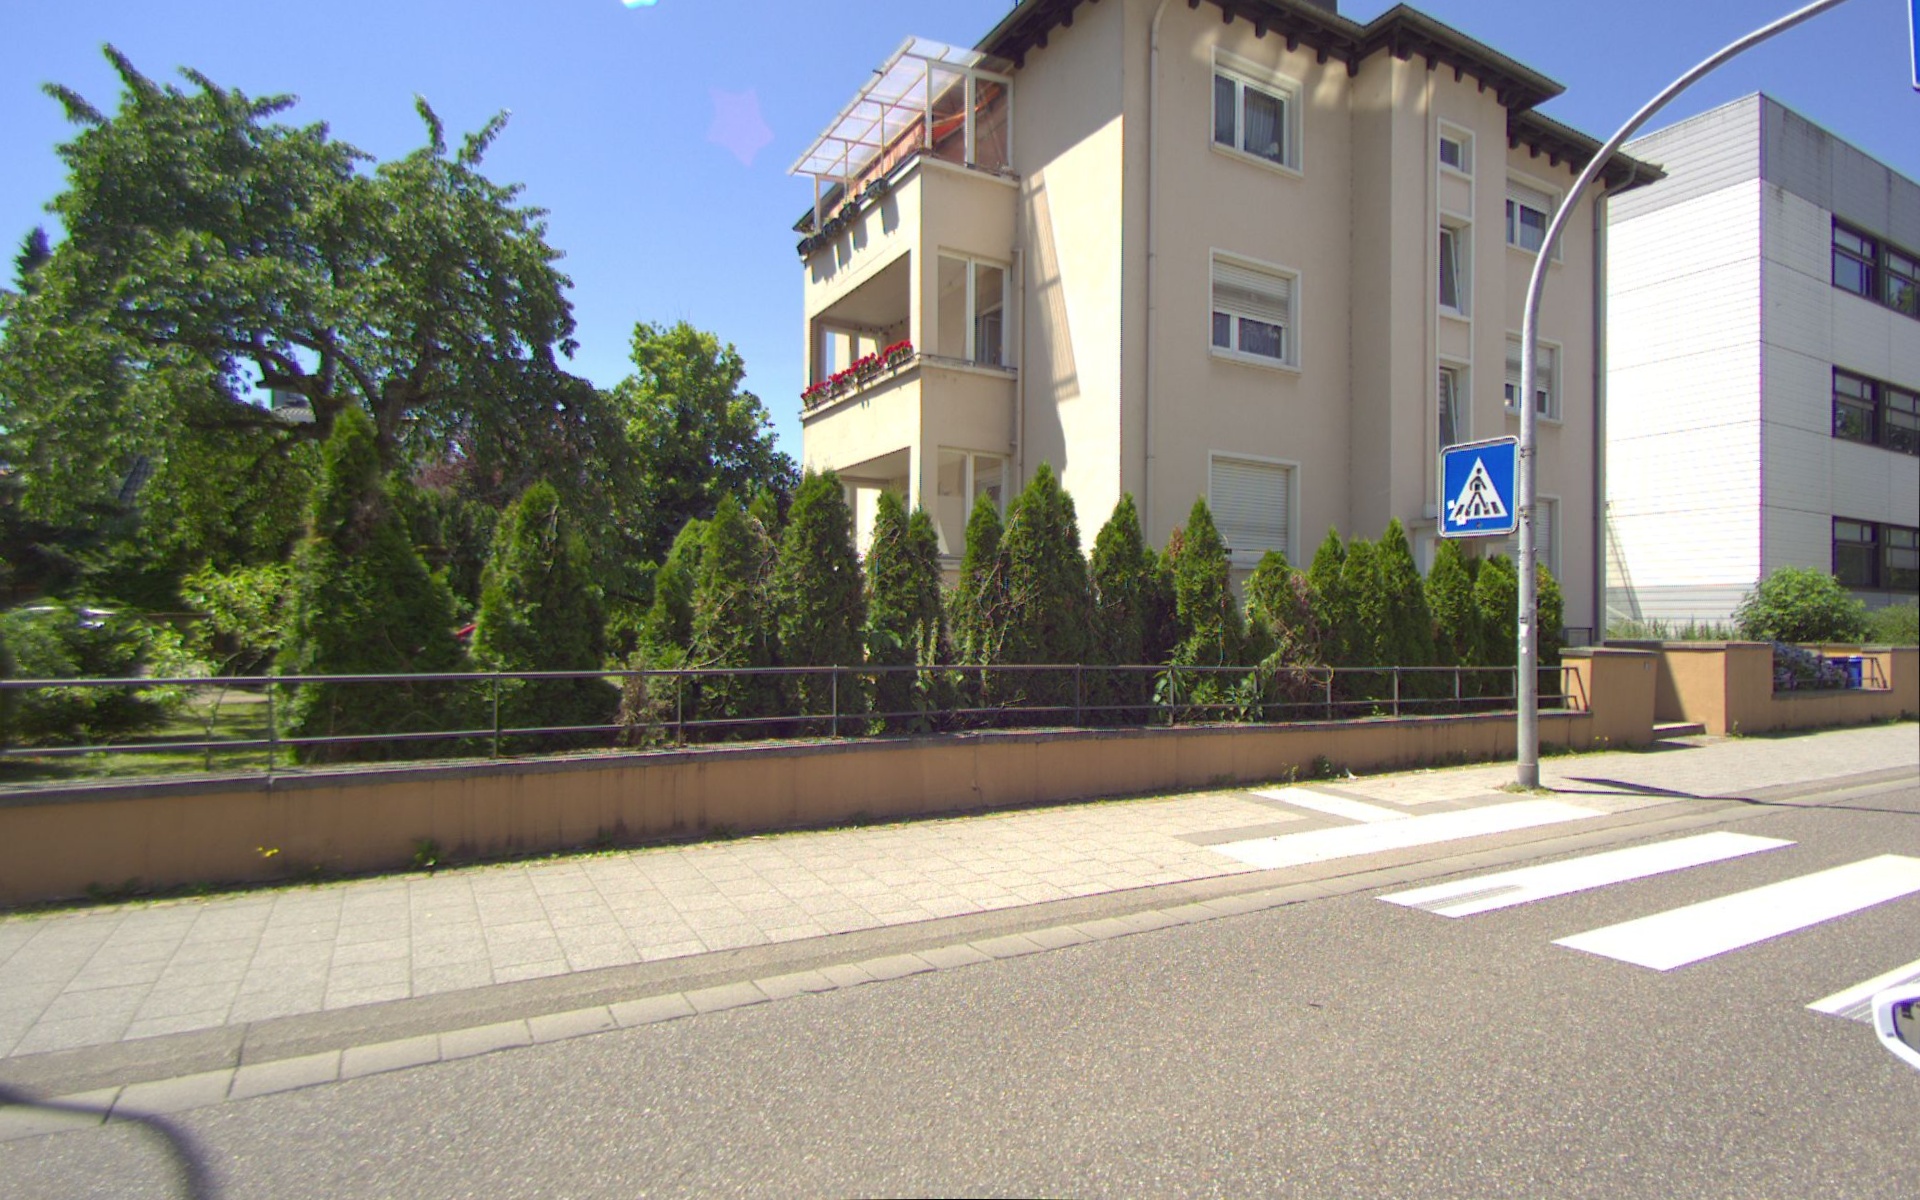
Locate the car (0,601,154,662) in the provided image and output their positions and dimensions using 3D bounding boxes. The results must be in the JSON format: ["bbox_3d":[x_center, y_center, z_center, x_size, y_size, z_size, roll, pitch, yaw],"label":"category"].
[{"bbox_3d":[-23.166,0.802,25.776,3.550,1.501,1.496,1,-1,-12],"label":"car"}]

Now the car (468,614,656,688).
[{"bbox_3d":[-8.393,1.035,21.260,3.385,1.439,1.699,2,-1,-37],"label":"car"}]
